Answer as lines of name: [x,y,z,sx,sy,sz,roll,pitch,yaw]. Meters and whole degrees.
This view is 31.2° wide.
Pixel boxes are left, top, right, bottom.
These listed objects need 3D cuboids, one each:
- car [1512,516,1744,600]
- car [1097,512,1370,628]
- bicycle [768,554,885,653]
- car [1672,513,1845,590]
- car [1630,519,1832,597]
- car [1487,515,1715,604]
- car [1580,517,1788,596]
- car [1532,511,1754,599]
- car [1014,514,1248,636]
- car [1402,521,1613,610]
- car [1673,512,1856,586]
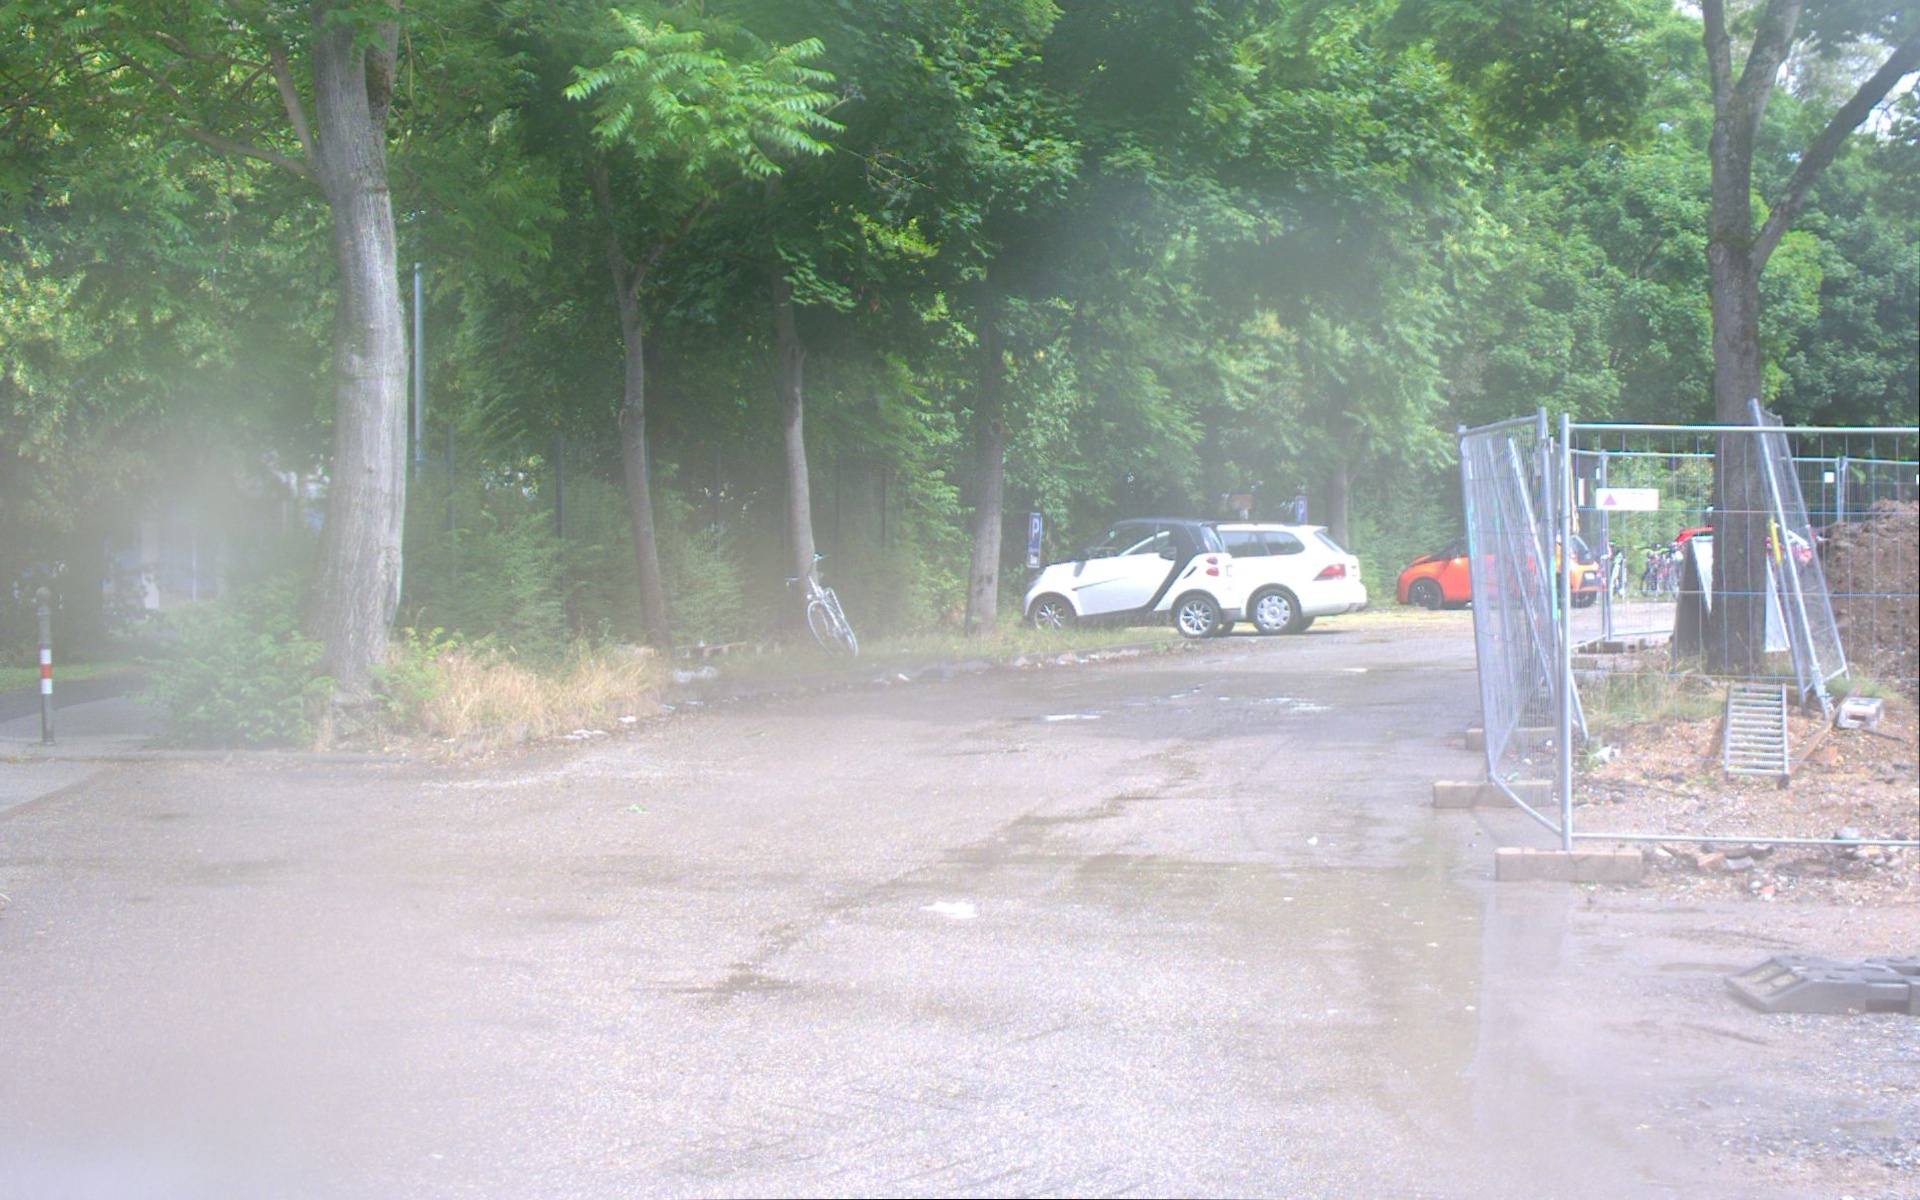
car: [12.792,-0.828,65.826,3.992,1.491,1.991,1,3,24]
car: [3.676,-0.412,45.959,3.434,1.463,1.740,0,2,12]
bicycle: [-1.240,0.019,32.171,0.476,0.857,1.454,1,3,25]
car: [17.799,-1.103,76.580,3.590,1.615,1.868,1,3,18]
car: [16.579,-0.925,73.927,3.991,1.554,1.762,1,3,21]
car: [11.916,-0.773,63.876,3.798,1.524,1.907,2,3,25]
car: [14.862,-0.915,70.581,3.946,1.511,1.804,1,3,20]
car: [13.614,-0.911,68.507,4.111,1.644,1.845,1,3,19]
car: [2.200,-0.330,43.917,2.755,1.479,1.592,0,2,12]
car: [9.534,-0.620,59.842,3.288,1.420,1.590,2,3,27]
car: [18.445,-1.188,78.805,3.861,1.568,1.956,1,3,20]
